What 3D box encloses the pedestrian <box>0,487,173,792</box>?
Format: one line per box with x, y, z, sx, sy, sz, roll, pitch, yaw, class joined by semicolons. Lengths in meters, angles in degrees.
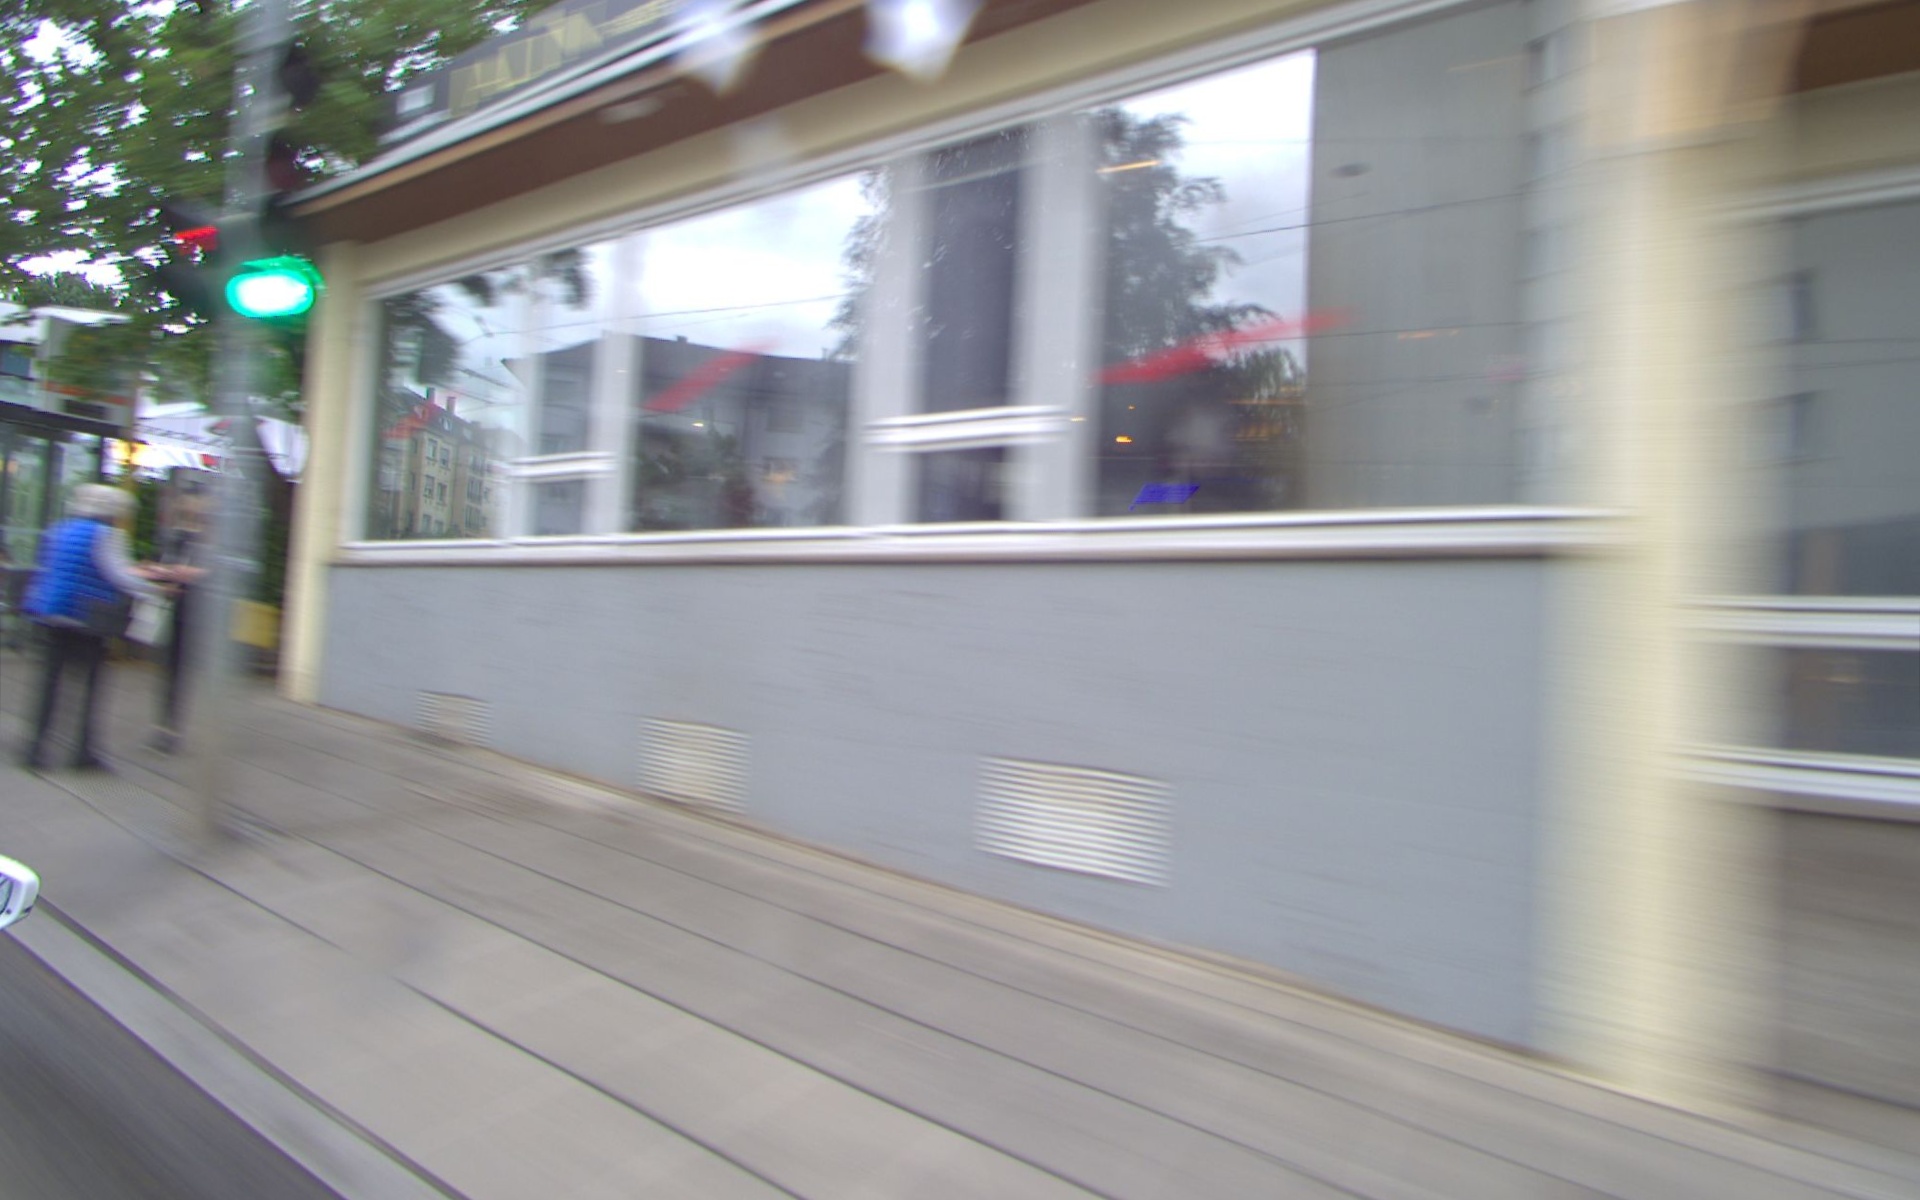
-4.954;0.204;5.634;0.639;1.574;0.588;6;1;31;pedestrian

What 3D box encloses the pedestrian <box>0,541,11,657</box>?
-9.904;-0.021;10.172;0.312;1.166;0.325;6;2;28;pedestrian

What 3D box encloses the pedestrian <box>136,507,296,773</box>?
-4.704;0.244;6.371;0.549;1.574;0.546;6;1;29;pedestrian

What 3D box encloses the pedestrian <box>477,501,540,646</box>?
-5.866;-0.335;13.090;0.452;1.801;0.490;8;-2;-16;pedestrian
